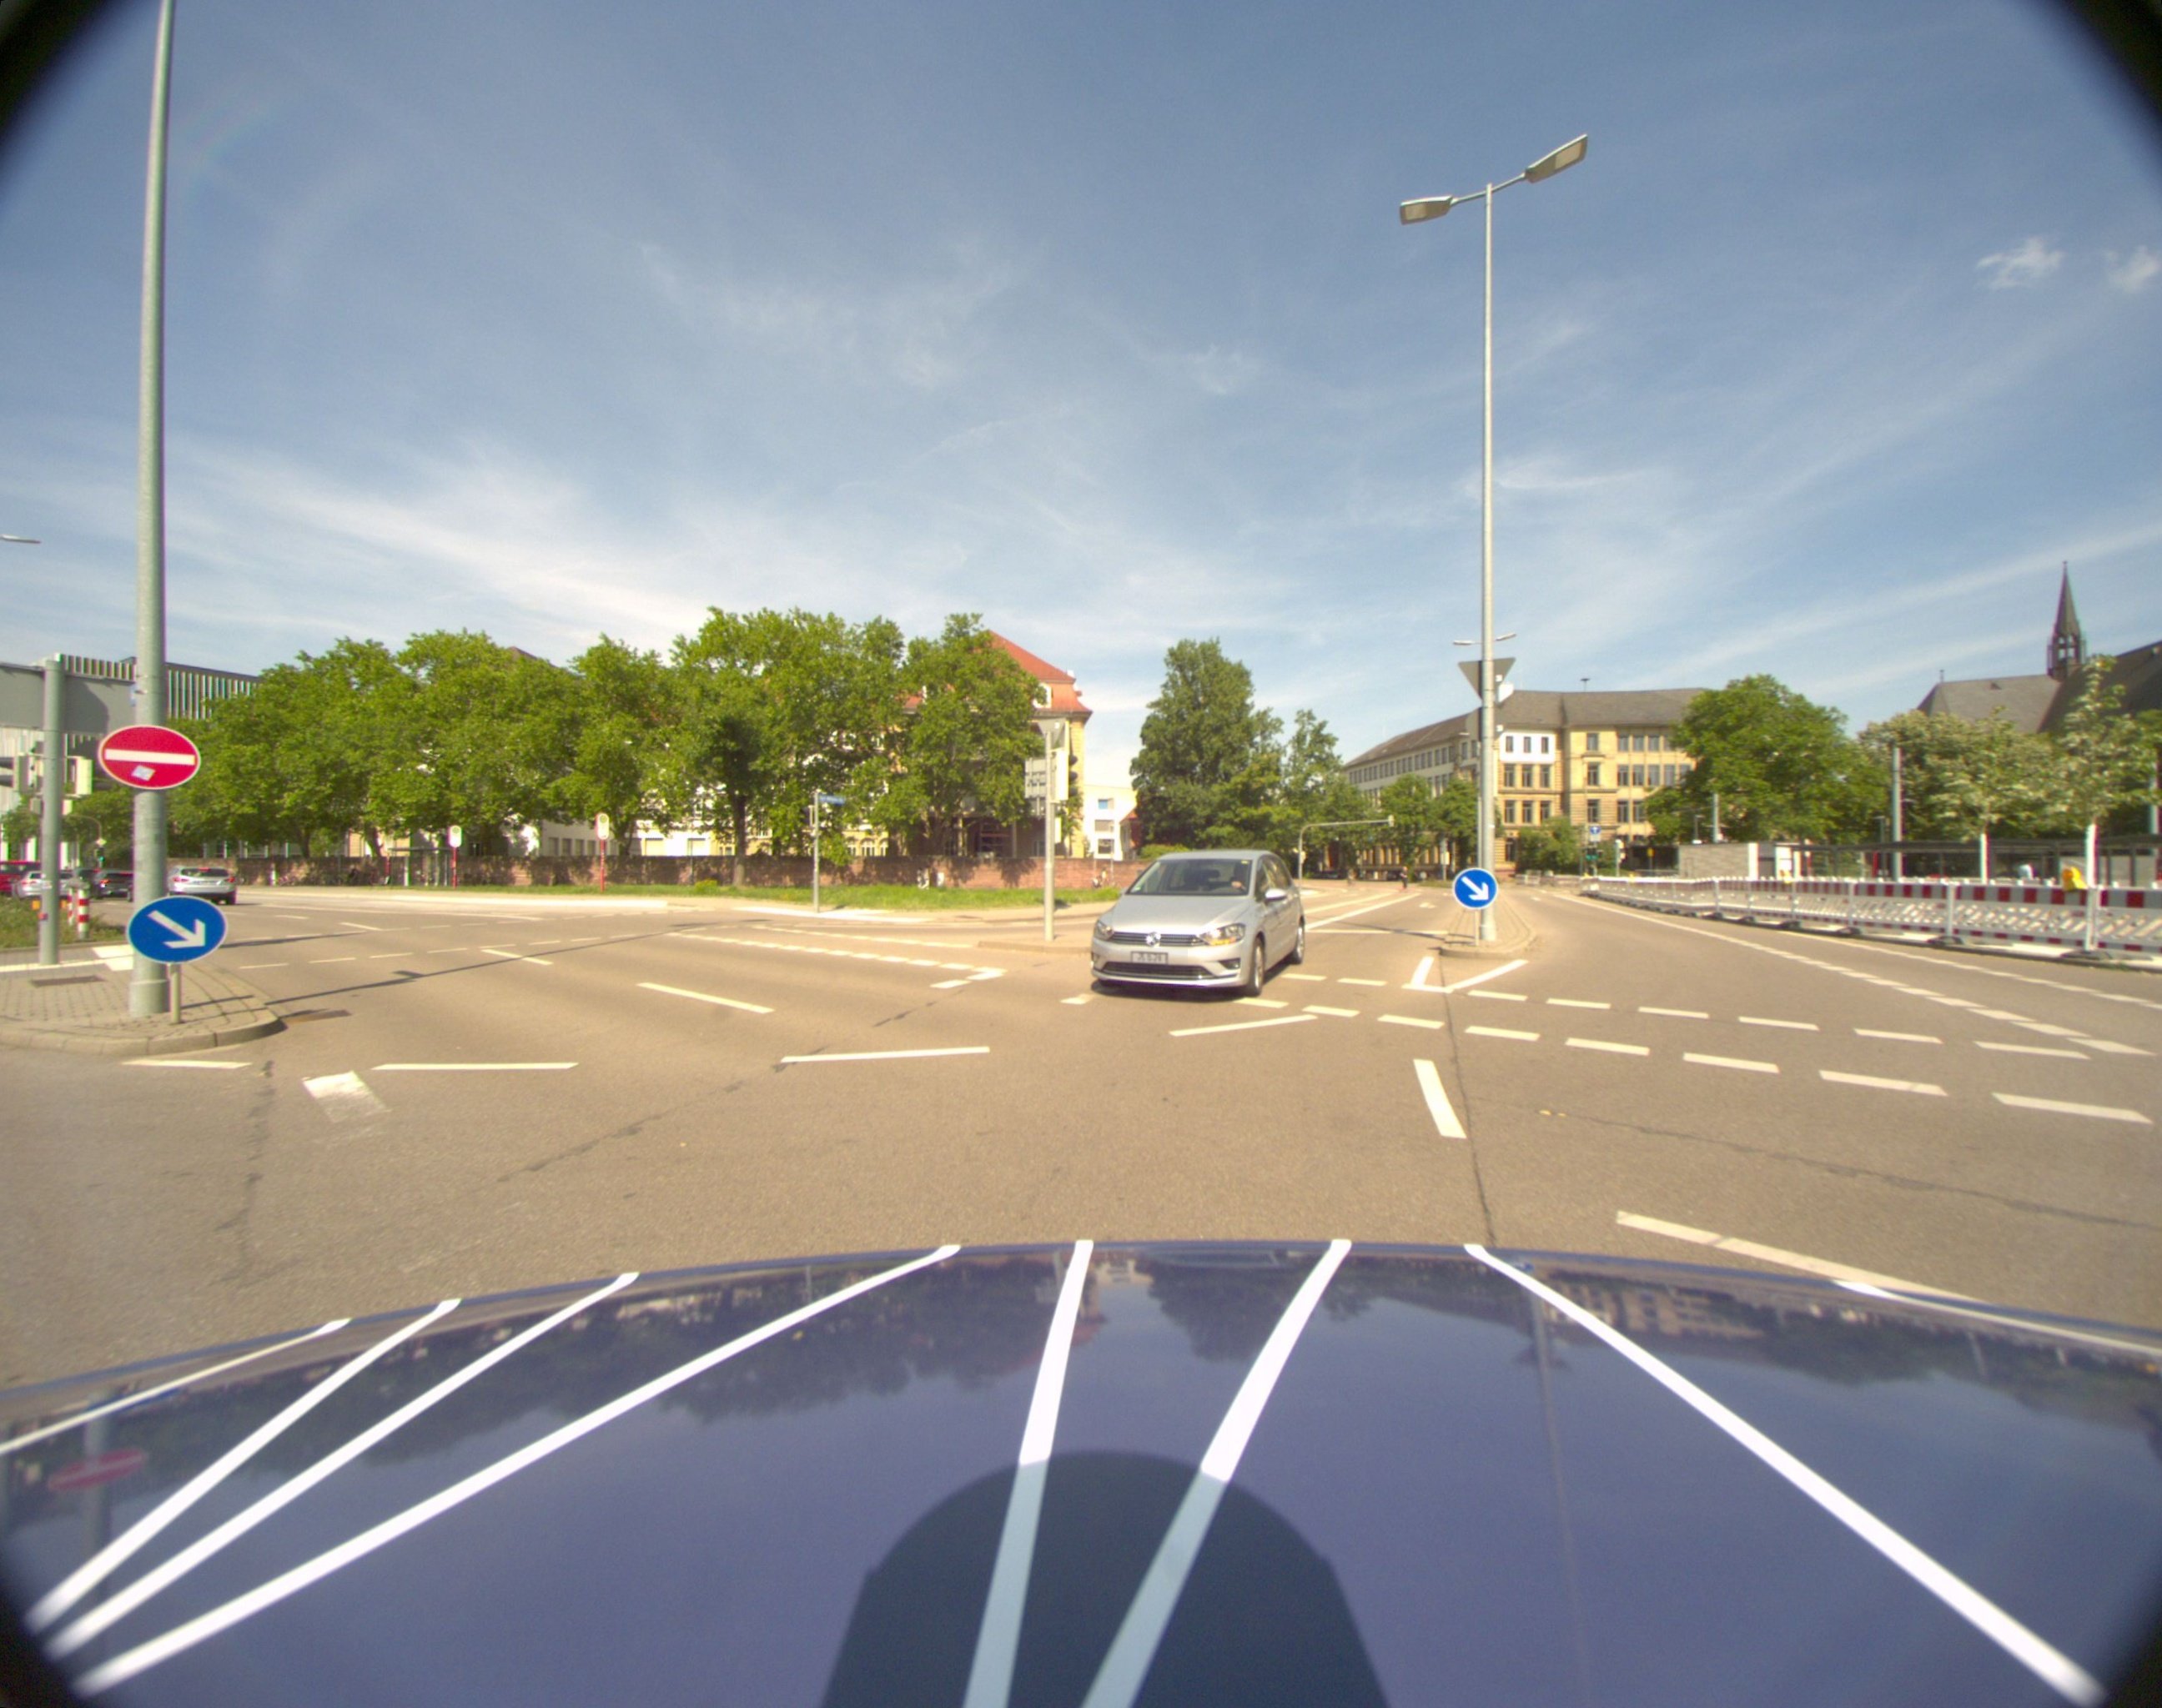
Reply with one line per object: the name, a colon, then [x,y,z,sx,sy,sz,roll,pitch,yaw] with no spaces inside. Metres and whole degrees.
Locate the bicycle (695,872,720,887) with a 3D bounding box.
bicycle: [-25.767,1.731,52.419,1.446,1.027,0.448,0,0,1]

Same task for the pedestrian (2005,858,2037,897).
pedestrian: [48.711,1.193,39.380,0.818,2.001,0.688,0,0,30]

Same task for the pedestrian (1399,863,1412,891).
pedestrian: [23.543,1.642,55.105,0.794,2.001,0.617,0,-1,13]

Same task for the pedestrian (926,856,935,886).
pedestrian: [-10.020,1.149,50.600,0.596,2.002,0.523,0,0,-14]

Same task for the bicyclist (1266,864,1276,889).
bicyclist: [12.790,1.491,51.163,0.487,1.627,1.087,0,0,25]

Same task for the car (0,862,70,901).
car: [-50.833,1.270,36.460,4.599,1.786,1.983,0,-1,27]

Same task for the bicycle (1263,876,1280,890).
bicycle: [12.723,1.912,50.713,0.683,0.882,1.936,0,-1,26]

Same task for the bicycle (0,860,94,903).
bicycle: [-45.554,1.158,33.441,3.989,1.804,2.004,0,0,29]

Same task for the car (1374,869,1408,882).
car: [43.456,3.015,106.493,3.999,1.652,1.998,-2,1,-7]

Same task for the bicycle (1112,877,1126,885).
bicycle: [2.747,1.934,54.617,0.949,0.598,0.274,1,0,-24]

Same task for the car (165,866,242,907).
car: [-37.355,1.323,32.321,4.205,1.608,1.715,0,-1,35]

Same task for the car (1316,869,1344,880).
car: [41.109,3.380,125.461,4.000,1.652,1.998,-2,1,-8]

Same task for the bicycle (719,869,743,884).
bicycle: [-24.095,1.520,52.293,1.446,1.027,0.448,0,0,1]

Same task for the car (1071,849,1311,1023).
car: [1.562,0.780,9.141,1.685,1.576,4.160,0,-1,25]

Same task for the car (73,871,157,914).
car: [-48.907,1.964,38.463,3.990,2.001,2.004,-3,-2,29]

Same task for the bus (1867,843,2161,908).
bus: [52.138,1.192,42.242,3.132,3.075,12.411,-2,-2,-6]

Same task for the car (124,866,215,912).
car: [-42.500,1.638,35.416,3.990,2.001,2.004,-3,-2,29]

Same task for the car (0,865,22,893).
car: [-60.270,1.385,41.788,3.989,1.502,1.803,0,1,28]
